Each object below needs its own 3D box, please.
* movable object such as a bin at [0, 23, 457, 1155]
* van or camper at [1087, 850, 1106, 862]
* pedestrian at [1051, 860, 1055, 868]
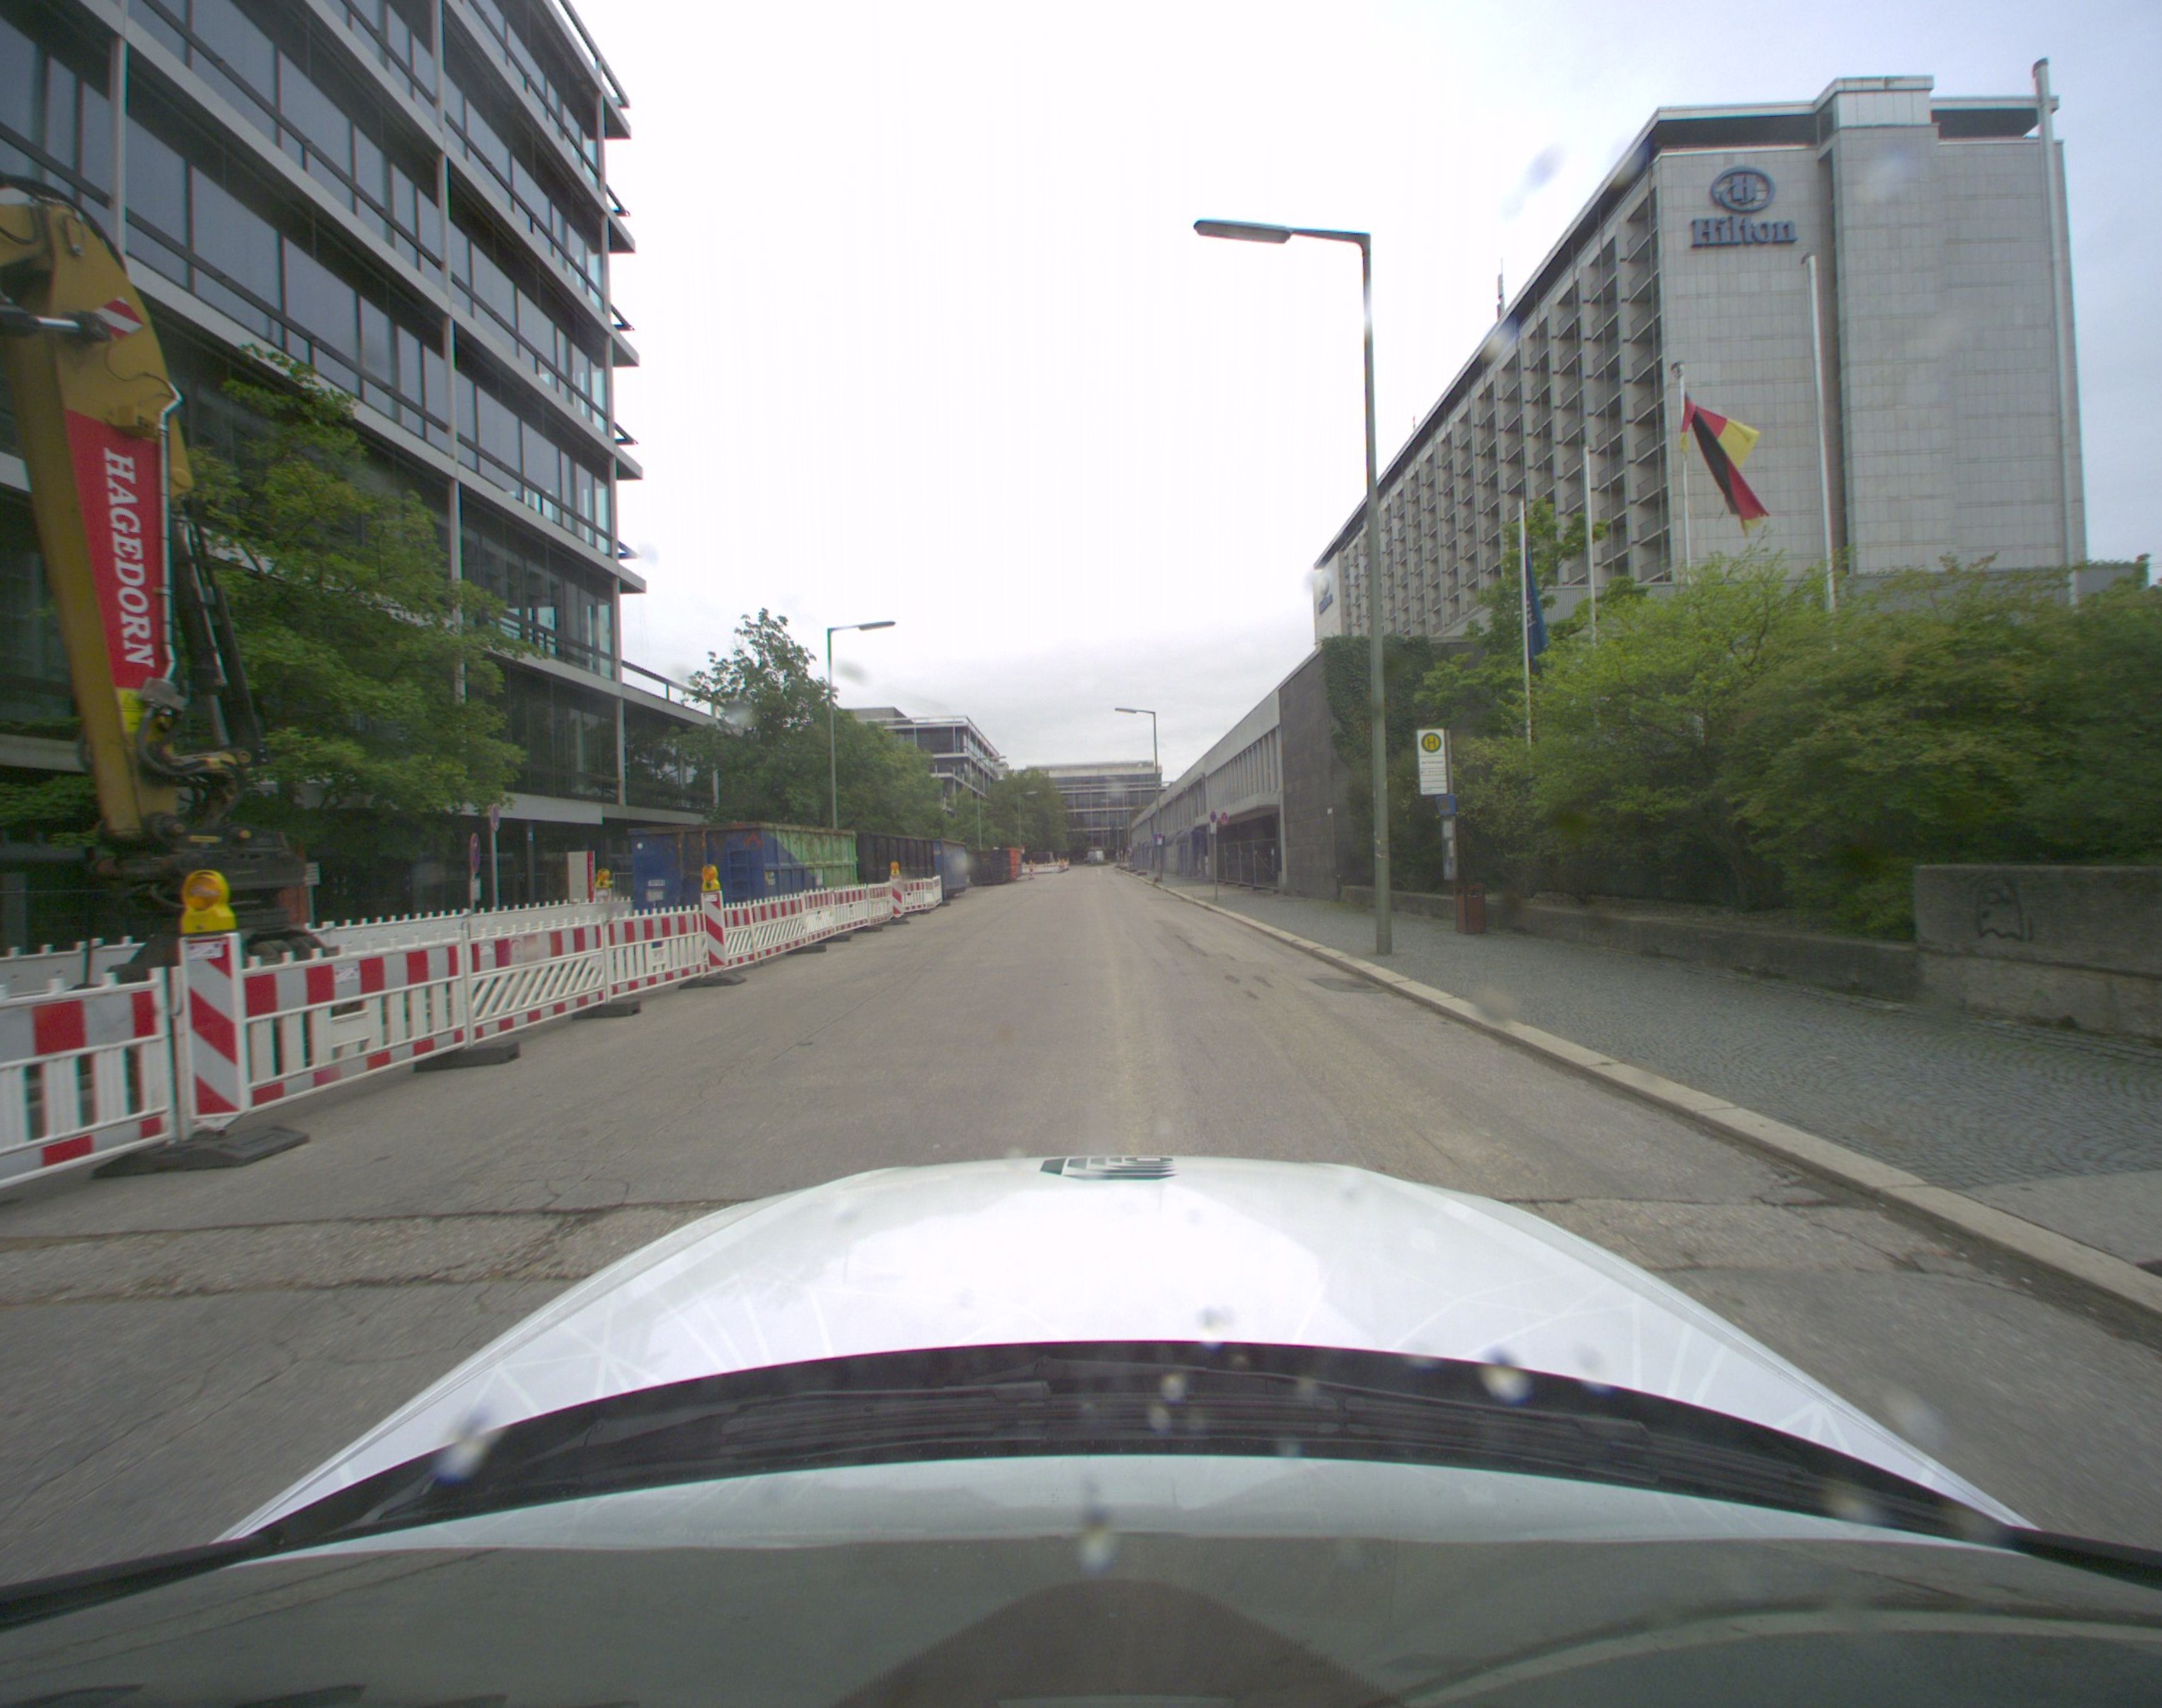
[{"bbox_3d":[-7.660,-1.571,2.051,2.895,6.564,11.782,-2,-1,0],"label":"movable object such as a bin"},{"bbox_3d":[3.271,0.360,176.809,2.095,2.492,5.025,-2,0,-25],"label":"van or camper"},{"bbox_3d":[-5.986,2.134,175.587,0.743,1.677,0.678,-2,-1,-19],"label":"pedestrian"}]
